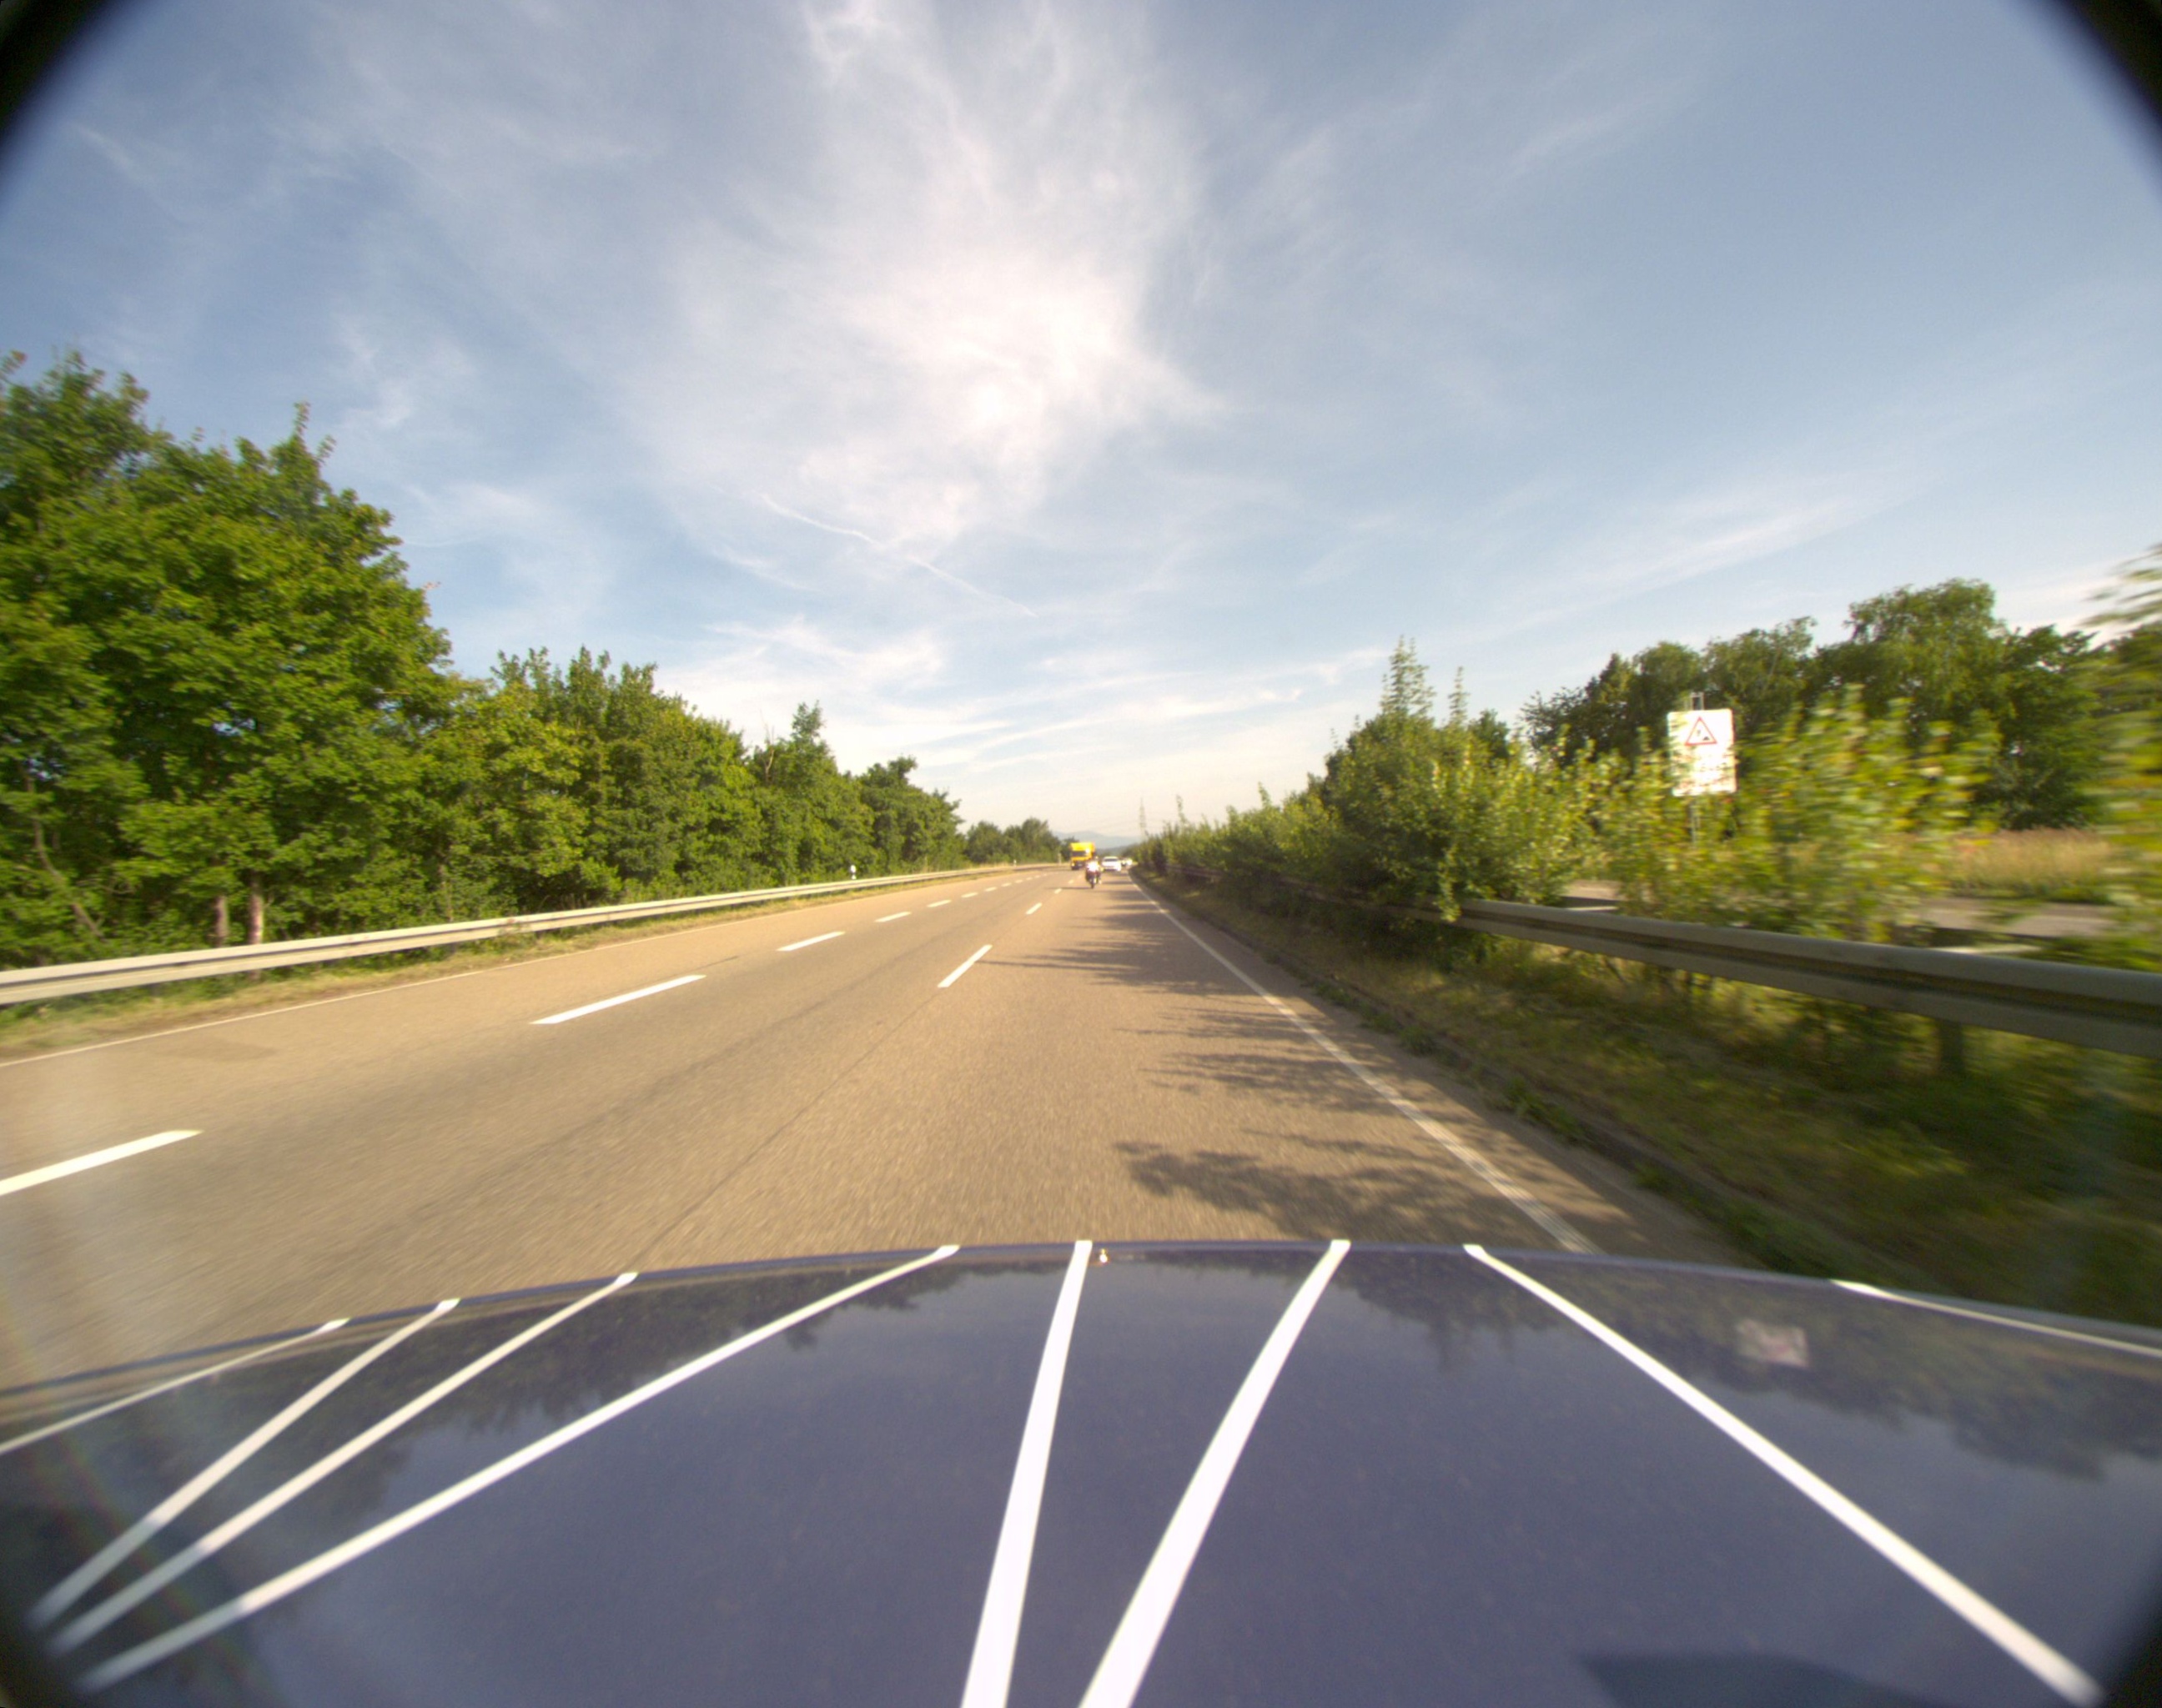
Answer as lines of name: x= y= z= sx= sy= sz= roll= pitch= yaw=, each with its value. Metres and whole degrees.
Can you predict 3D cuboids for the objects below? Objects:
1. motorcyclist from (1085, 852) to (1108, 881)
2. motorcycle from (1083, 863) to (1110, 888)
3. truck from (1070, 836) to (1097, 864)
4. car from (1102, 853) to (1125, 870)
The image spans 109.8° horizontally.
motorcyclist: x=0.754 y=0.585 z=36.366 sx=0.936 sy=1.344 sz=1.143 roll=-1 pitch=0 yaw=9
motorcycle: x=0.780 y=1.009 z=36.450 sx=0.936 sy=1.131 sz=2.584 roll=-1 pitch=0 yaw=8
truck: x=0.391 y=-0.420 z=96.273 sx=2.785 sy=3.297 sz=10.493 roll=-2 pitch=-1 yaw=3
car: x=3.082 y=0.674 z=71.324 sx=1.868 sy=1.454 sz=4.085 roll=-2 pitch=0 yaw=5
